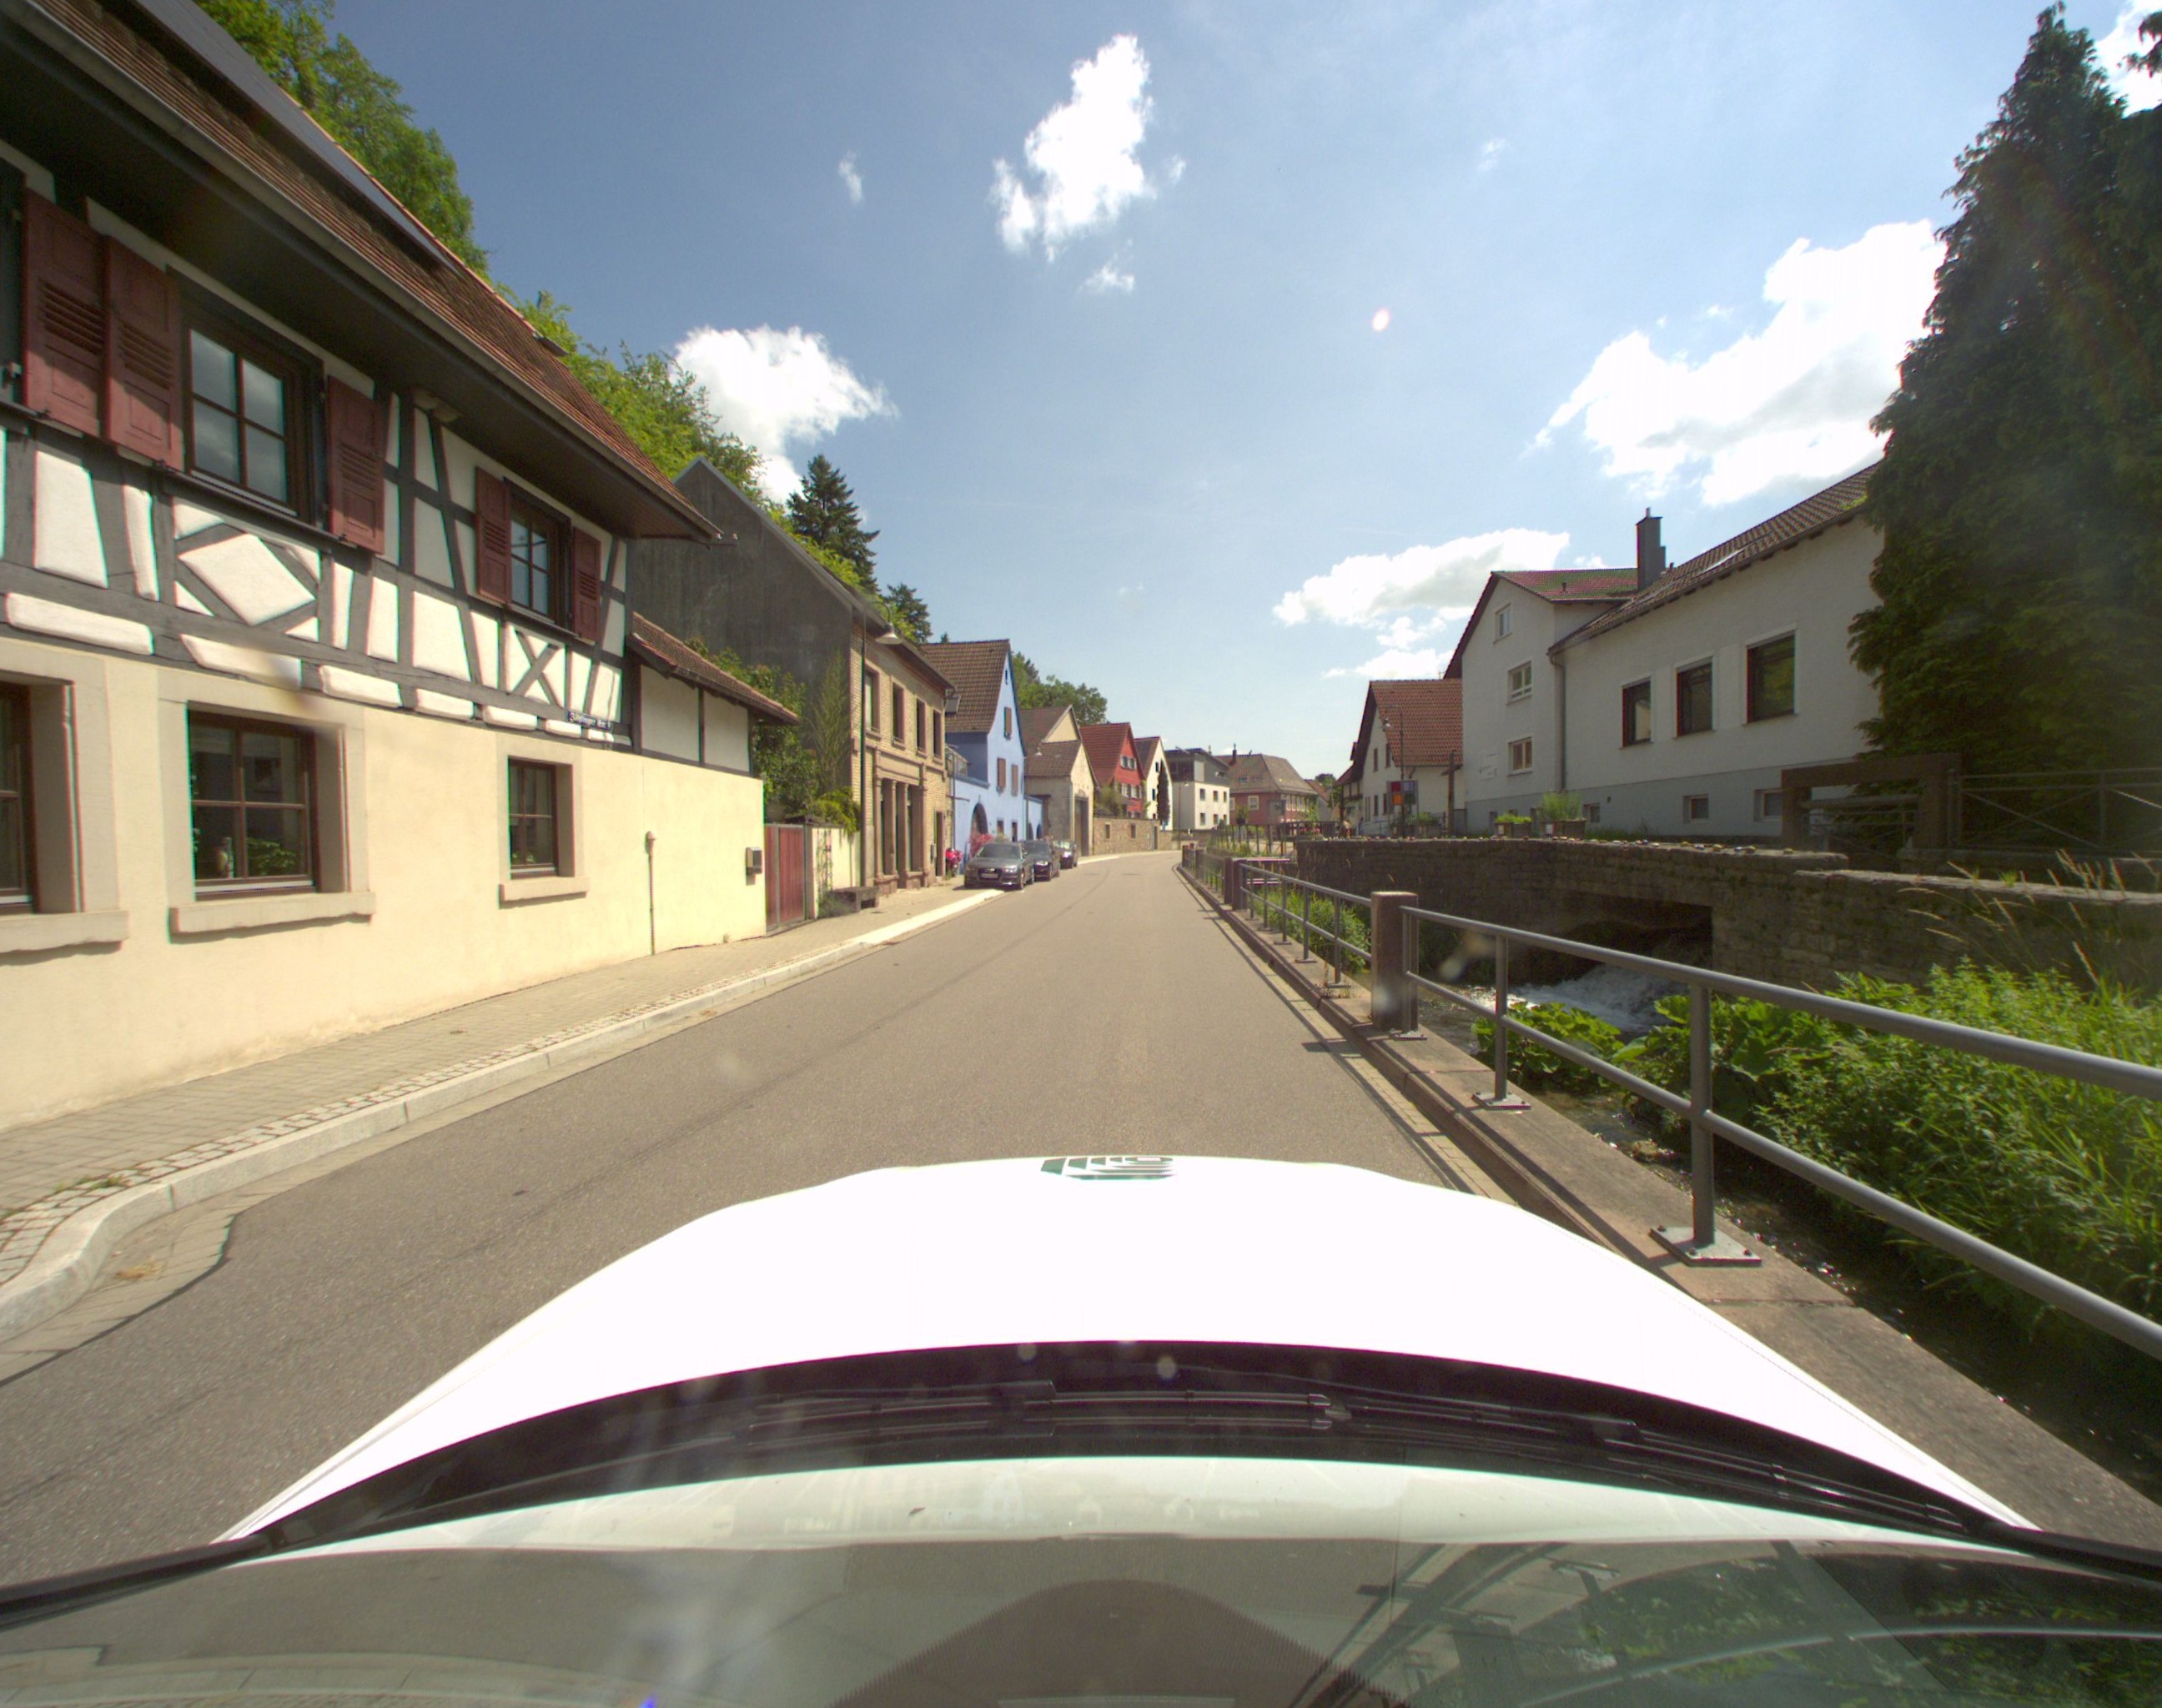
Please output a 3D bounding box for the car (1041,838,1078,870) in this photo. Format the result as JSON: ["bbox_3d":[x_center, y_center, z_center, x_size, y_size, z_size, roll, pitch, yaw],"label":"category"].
[{"bbox_3d":[-1.059,-0.020,41.837,1.711,1.530,3.857,-1,1,1],"label":"car"}]

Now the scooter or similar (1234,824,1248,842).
[{"bbox_3d":[10.289,-1.354,52.400,0.638,1.142,1.814,-2,1,5],"label":"scooter or similar"}]

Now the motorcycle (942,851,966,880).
[{"bbox_3d":[-4.651,0.400,29.952,0.416,1.001,1.860,4,1,3],"label":"motorcycle"}]

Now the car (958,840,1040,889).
[{"bbox_3d":[-2.568,0.292,26.686,1.948,1.465,4.550,0,0,3],"label":"car"}]

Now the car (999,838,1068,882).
[{"bbox_3d":[-1.766,0.170,31.690,1.876,1.463,4.677,3,2,6],"label":"car"}]

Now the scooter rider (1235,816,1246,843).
[{"bbox_3d":[10.276,-1.559,52.466,0.638,1.731,0.555,0,1,5],"label":"scooter rider"}]
